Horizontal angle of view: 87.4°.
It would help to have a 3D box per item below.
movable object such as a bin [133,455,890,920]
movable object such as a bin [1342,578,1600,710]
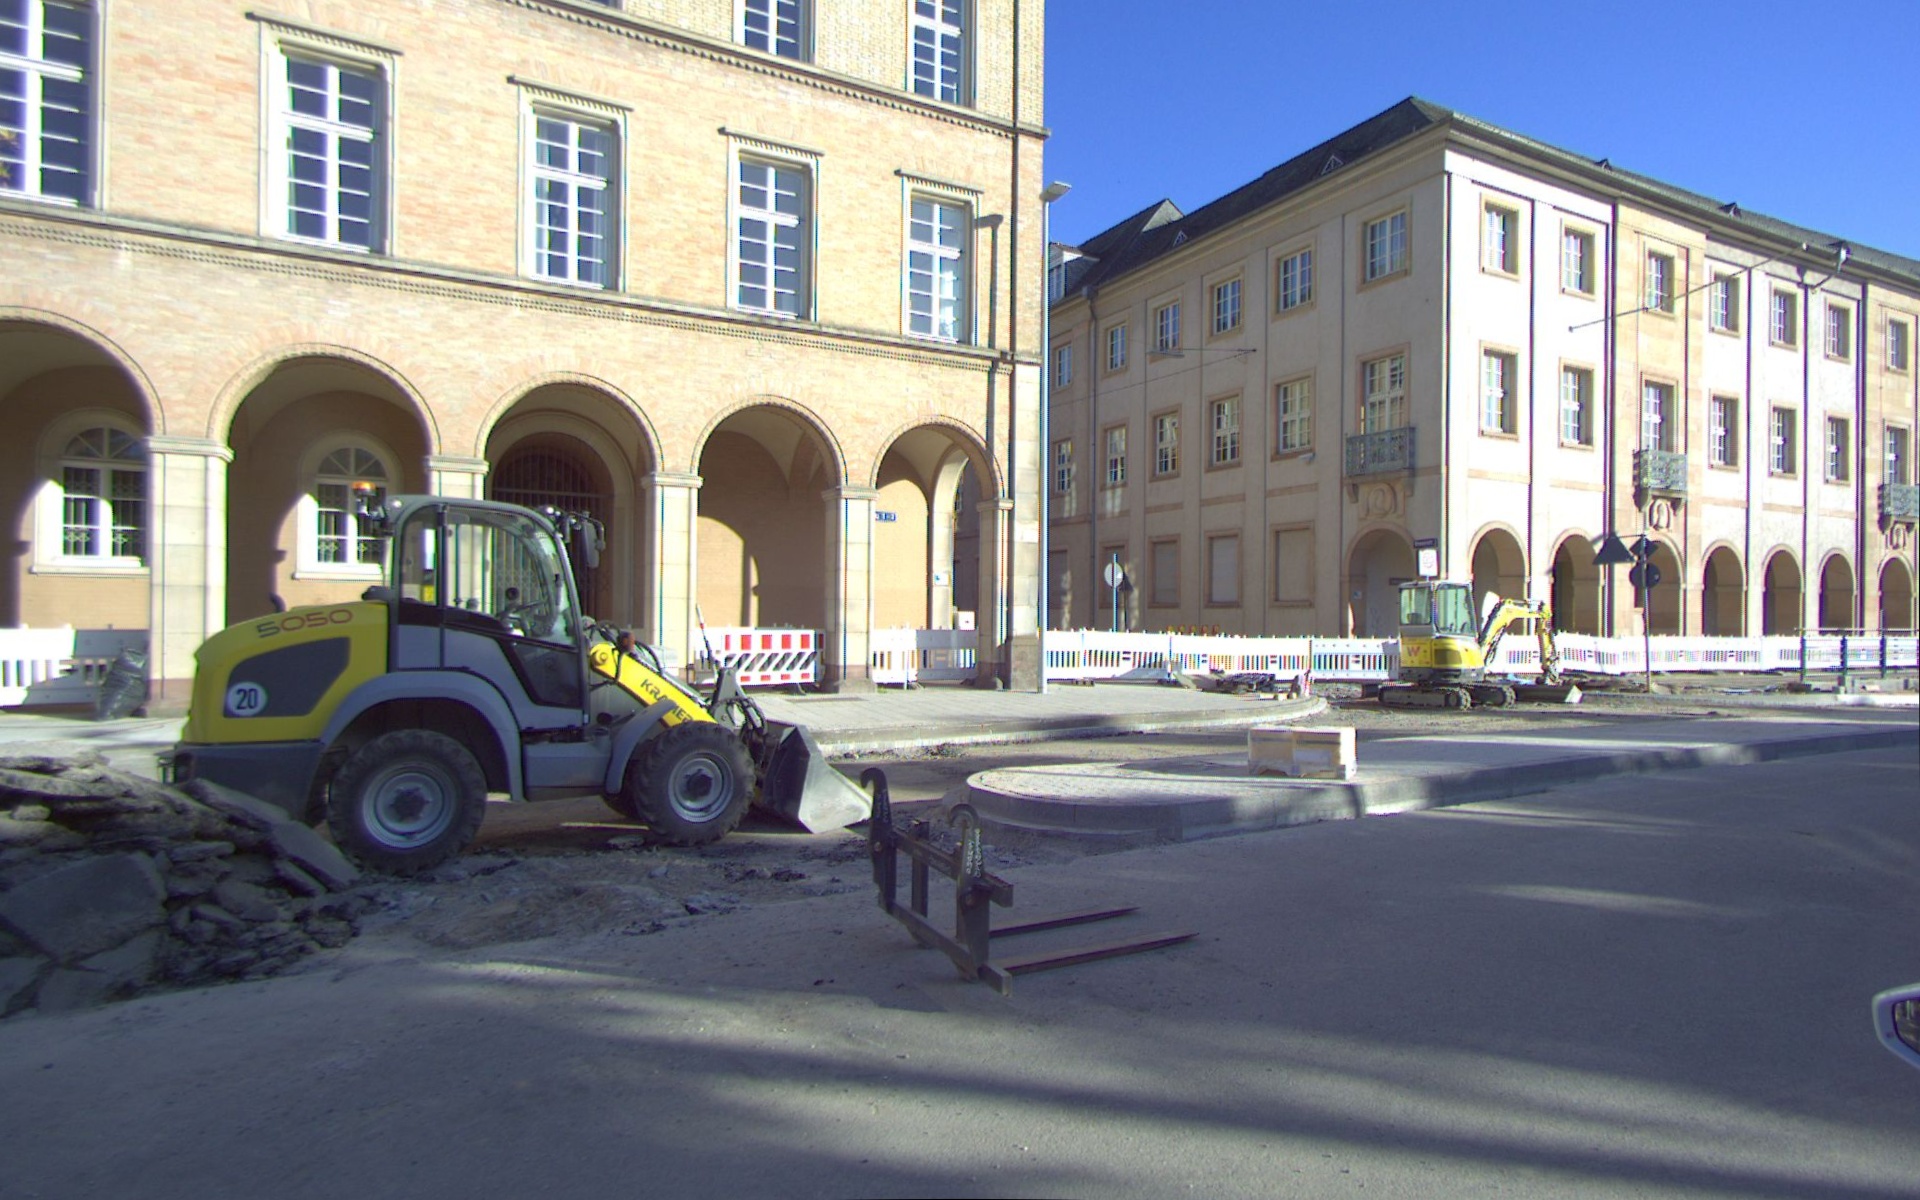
[{"bbox_3d":[-3.016,0.476,7.494,4.563,2.508,2.064,0,0,-31],"label":"movable object such as a bin"},{"bbox_3d":[10.275,0.843,20.233,4.401,2.380,2.538,1,-1,-26],"label":"movable object such as a bin"}]
